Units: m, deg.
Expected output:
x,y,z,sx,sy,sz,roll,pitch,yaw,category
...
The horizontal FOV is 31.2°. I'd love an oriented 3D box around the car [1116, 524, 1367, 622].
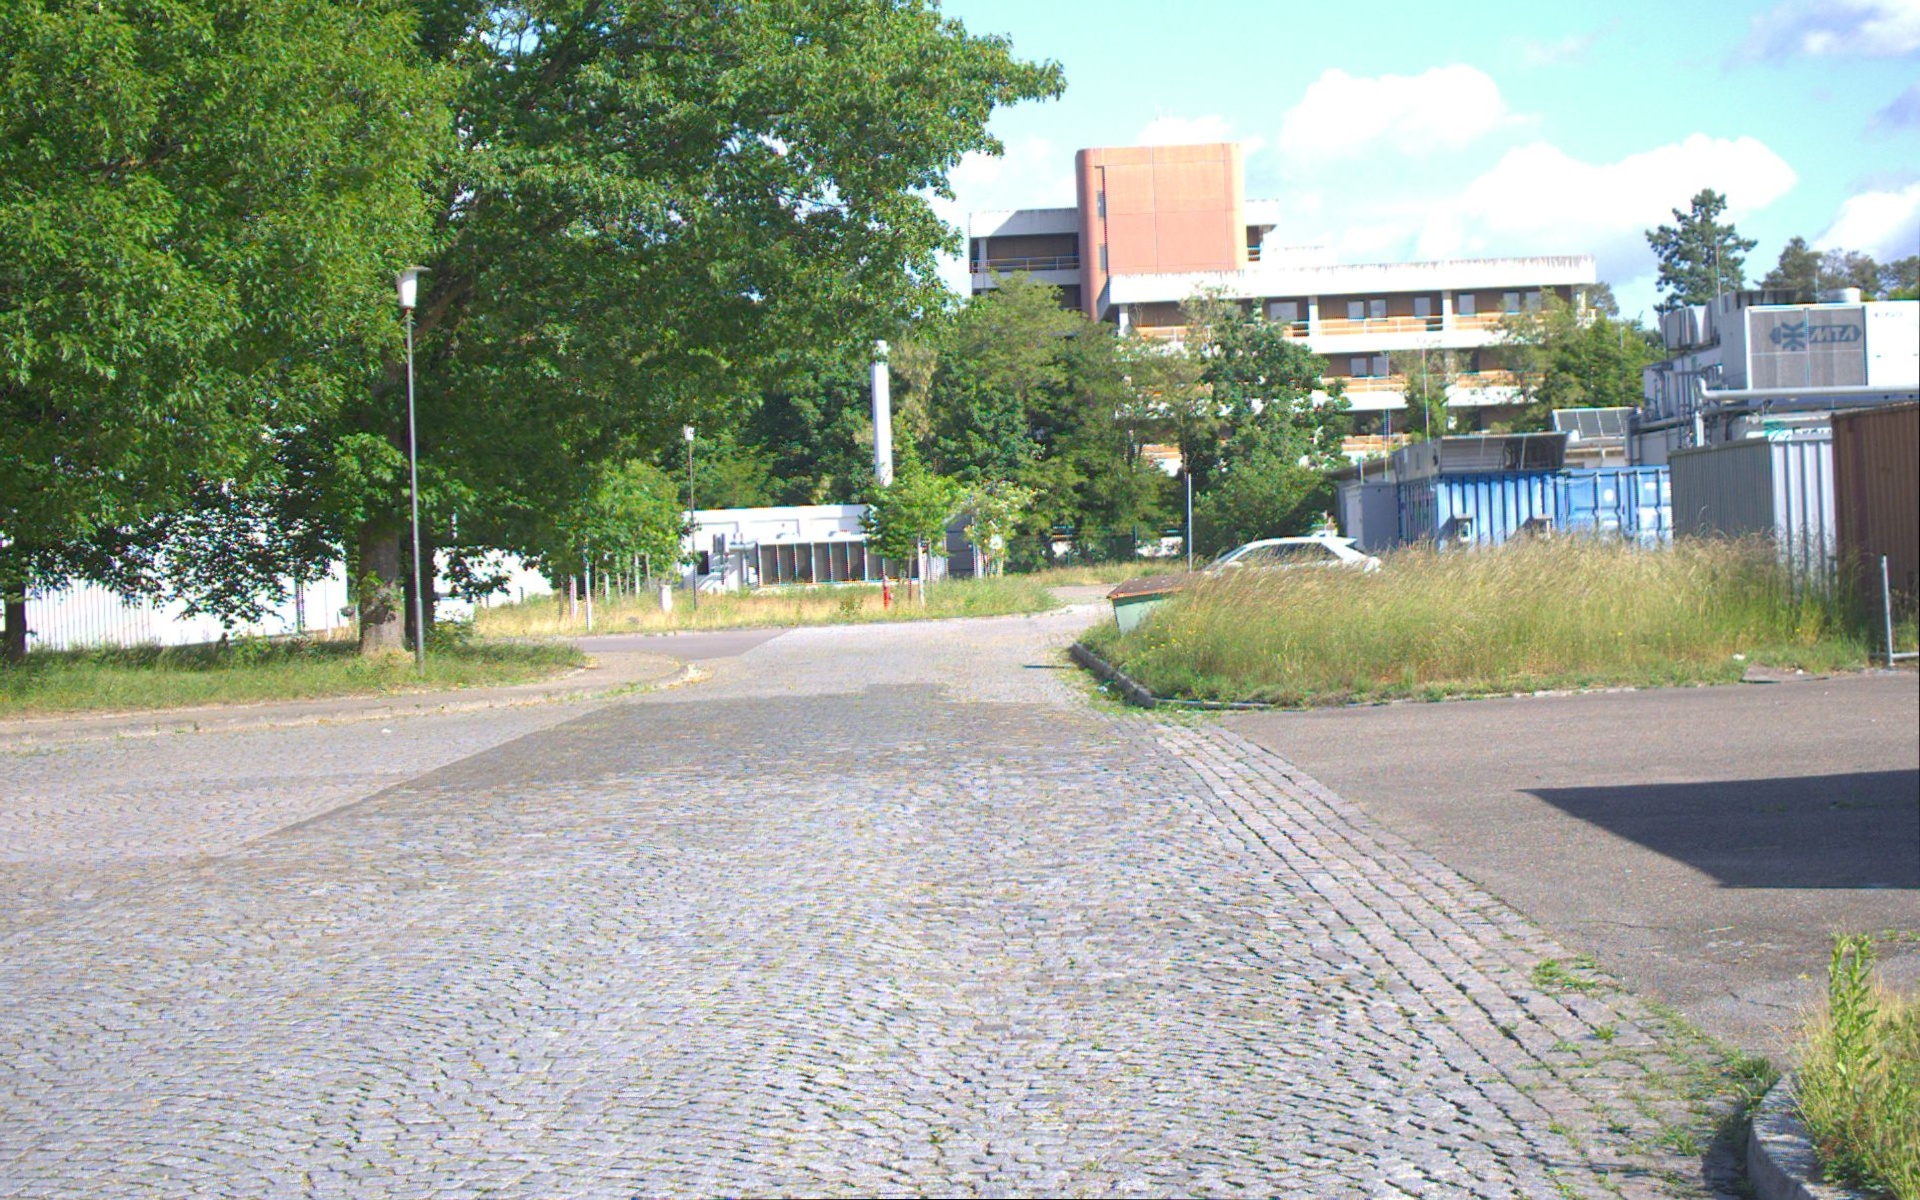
x,y,z,sx,sy,sz,roll,pitch,yaw,category
5.350,-0.528,65.701,4.588,1.672,1.875,-2,1,0,car
